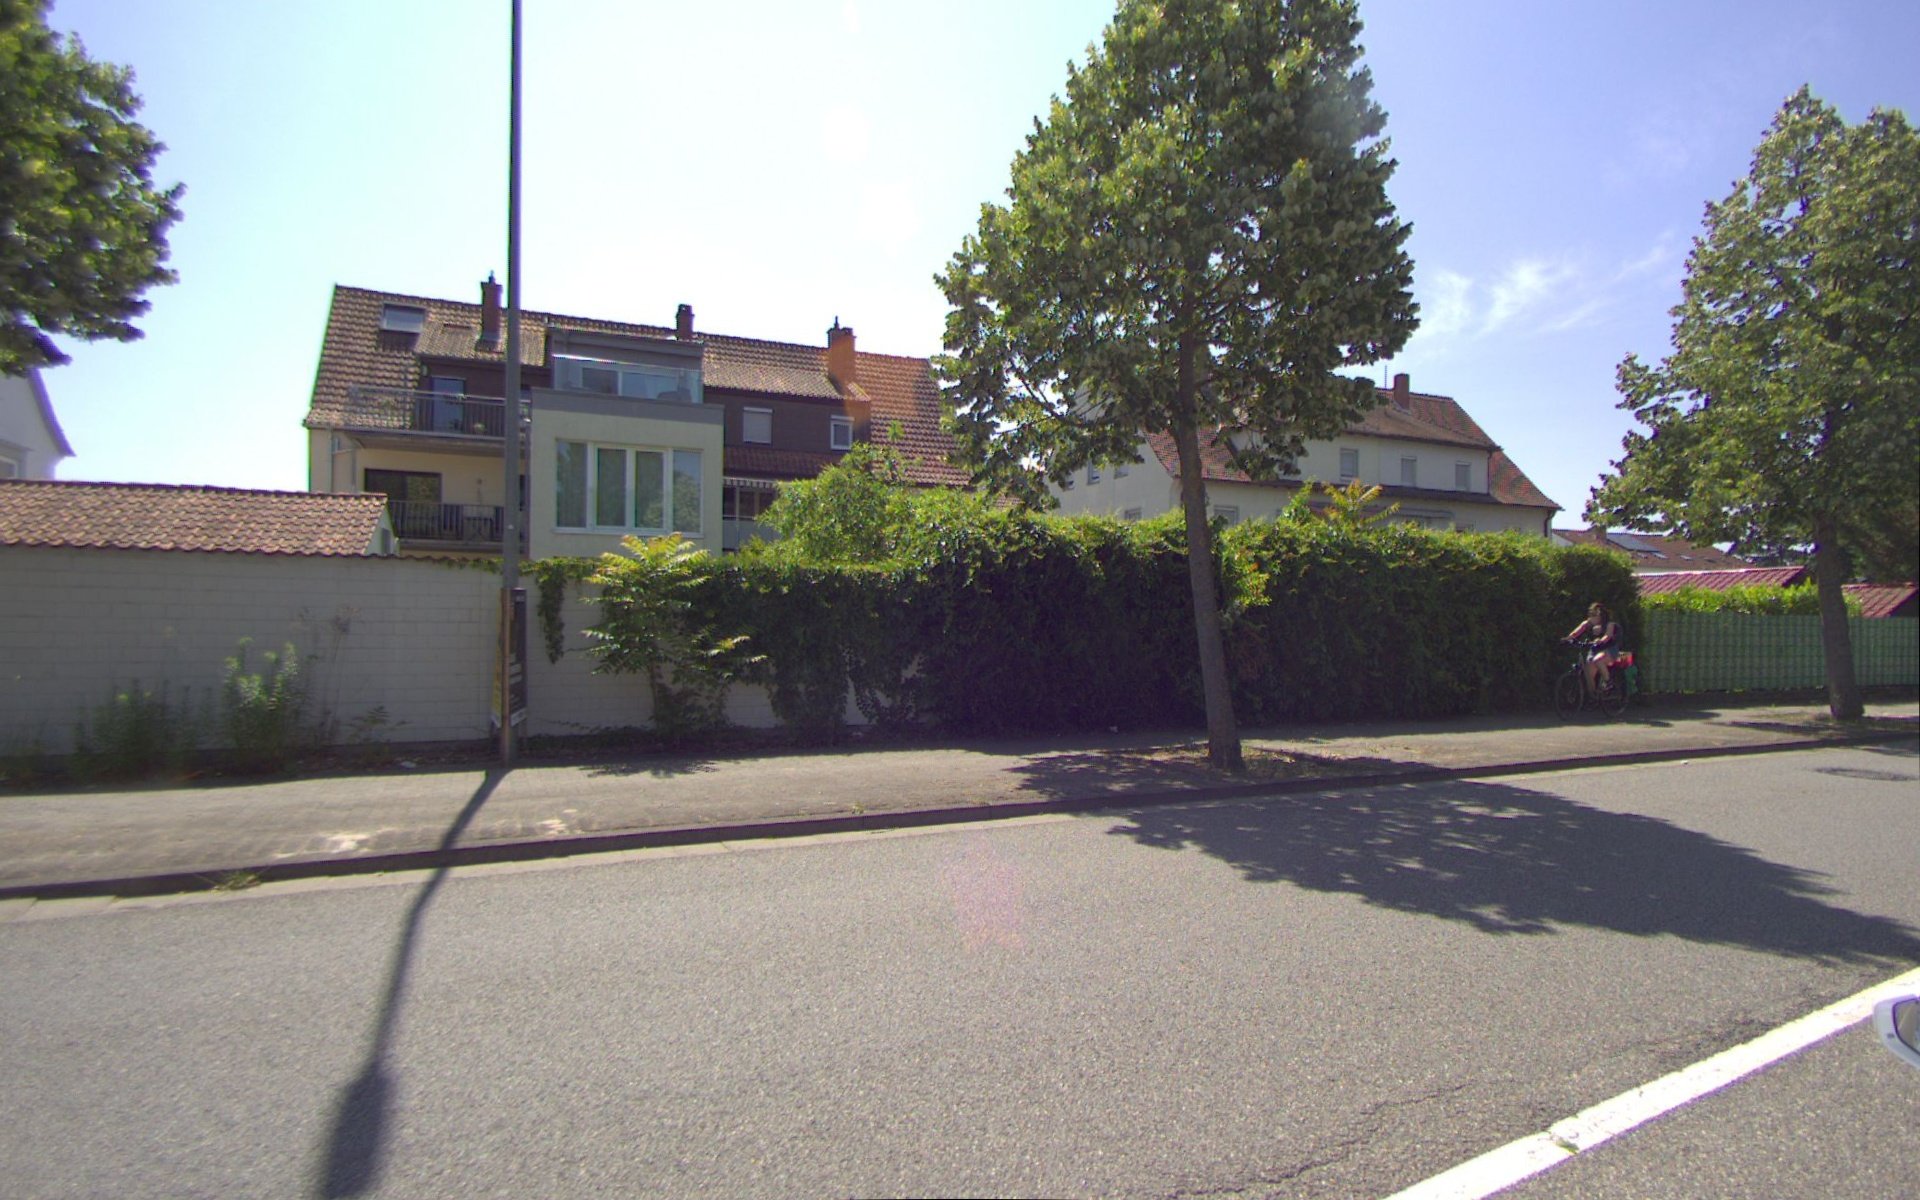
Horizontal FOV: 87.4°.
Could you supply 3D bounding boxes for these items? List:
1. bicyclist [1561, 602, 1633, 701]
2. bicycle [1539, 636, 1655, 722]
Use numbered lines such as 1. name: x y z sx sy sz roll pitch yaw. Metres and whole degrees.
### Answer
1. bicyclist: 9.426 0.752 14.870 0.668 1.427 0.626 1 -2 -27
2. bicycle: 9.428 1.137 14.860 1.793 1.195 0.630 1 -2 -28
